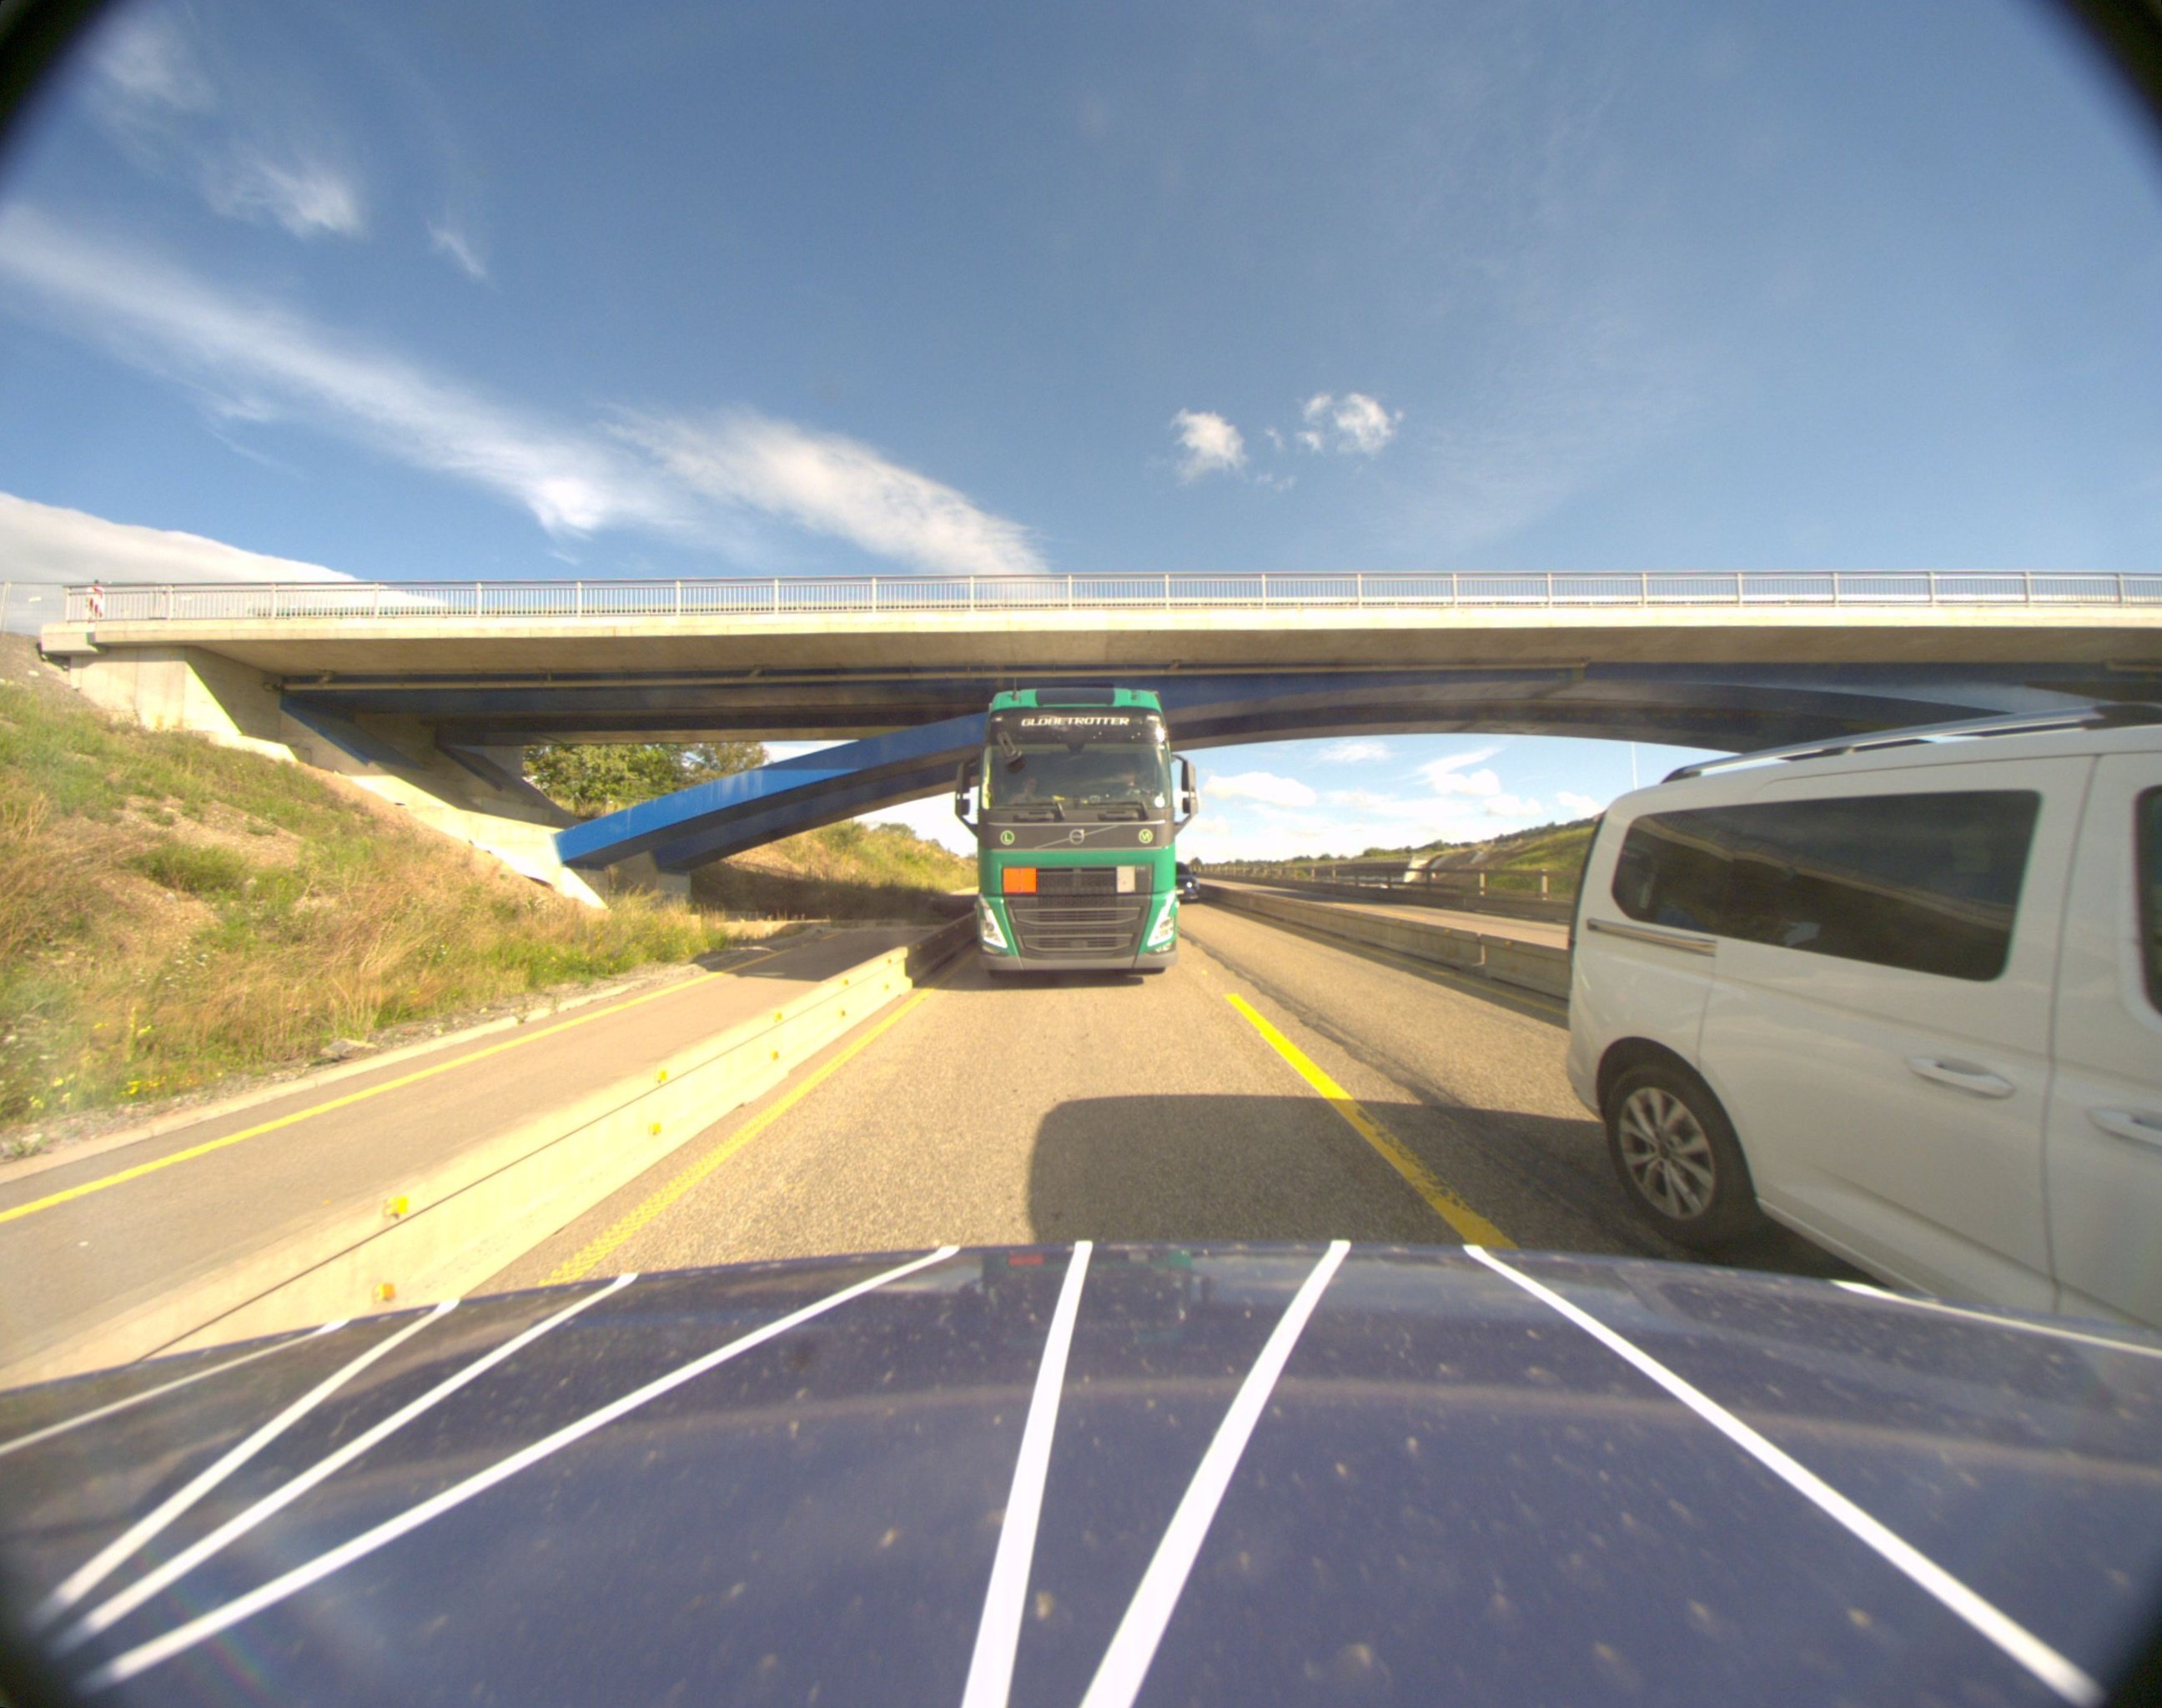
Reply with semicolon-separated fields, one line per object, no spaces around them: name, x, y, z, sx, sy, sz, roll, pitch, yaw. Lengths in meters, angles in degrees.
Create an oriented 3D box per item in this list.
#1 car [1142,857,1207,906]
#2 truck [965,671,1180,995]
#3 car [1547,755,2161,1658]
car;3.123;0.881;26.071;1.719;1.499;4.000;-2;0;0
truck;-0.153;-0.260;13.414;2.546;3.899;8.278;-1;0;-1
car;3.045;0.673;1.239;1.827;1.813;4.456;-3;0;1
